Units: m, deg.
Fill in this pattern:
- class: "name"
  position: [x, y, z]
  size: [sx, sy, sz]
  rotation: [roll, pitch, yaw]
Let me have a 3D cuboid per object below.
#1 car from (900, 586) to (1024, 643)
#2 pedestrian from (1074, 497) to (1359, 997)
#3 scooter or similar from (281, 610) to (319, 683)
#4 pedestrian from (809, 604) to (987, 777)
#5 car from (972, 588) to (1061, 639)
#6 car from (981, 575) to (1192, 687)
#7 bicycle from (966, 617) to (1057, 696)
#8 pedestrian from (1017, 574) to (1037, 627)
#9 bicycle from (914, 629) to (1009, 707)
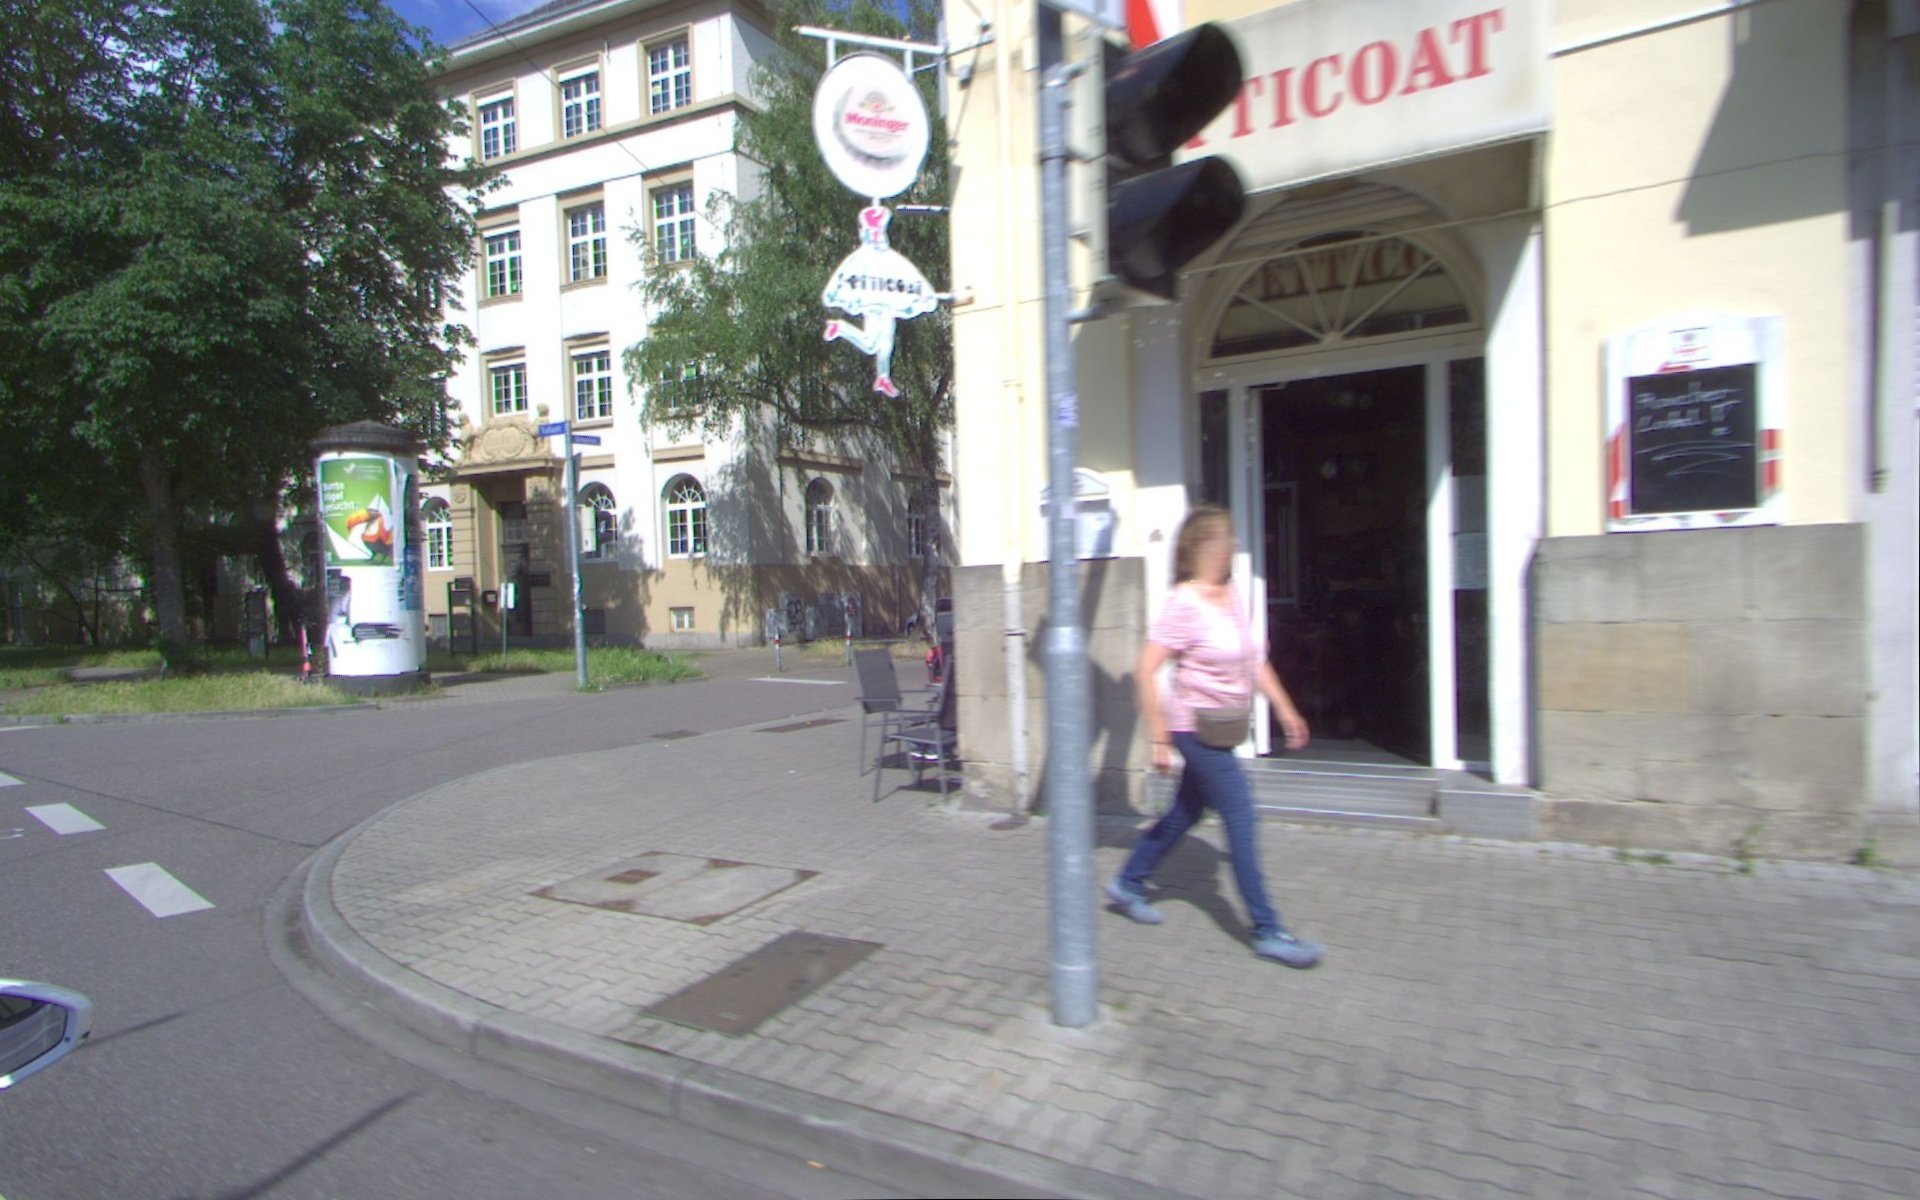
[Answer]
- class: "car"
  position: [-0.044, 0.397, 29.202]
  size: [1.598, 1.506, 4.520]
  rotation: [-2, 1, -29]
- class: "pedestrian"
  position: [0.984, 0.484, 3.819]
  size: [0.755, 1.671, 0.668]
  rotation: [-1, 5, 42]
- class: "scooter or similar"
  position: [-11.256, 0.775, 17.070]
  size: [0.303, 1.205, 1.151]
  rotation: [-3, 2, -43]
- class: "pedestrian"
  position: [-0.500, 0.710, 8.014]
  size: [1.284, 1.285, 0.534]
  rotation: [-3, 0, 27]
- class: "car"
  position: [1.724, 0.389, 31.291]
  size: [1.363, 1.476, 3.254]
  rotation: [-2, 1, -25]
- class: "car"
  position: [2.454, 0.453, 18.162]
  size: [1.886, 1.756, 4.745]
  rotation: [-1, 1, 33]
- class: "bicycle"
  position: [0.779, 0.798, 14.579]
  size: [0.576, 0.981, 1.644]
  rotation: [-3, 1, 30]
- class: "pedestrian"
  position: [2.615, 0.017, 39.171]
  size: [0.495, 2.041, 0.625]
  rotation: [-1, 2, 32]
- class: "bicycle"
  position: [0.053, 0.948, 14.389]
  size: [0.576, 0.981, 1.644]
  rotation: [-3, 0, 30]
